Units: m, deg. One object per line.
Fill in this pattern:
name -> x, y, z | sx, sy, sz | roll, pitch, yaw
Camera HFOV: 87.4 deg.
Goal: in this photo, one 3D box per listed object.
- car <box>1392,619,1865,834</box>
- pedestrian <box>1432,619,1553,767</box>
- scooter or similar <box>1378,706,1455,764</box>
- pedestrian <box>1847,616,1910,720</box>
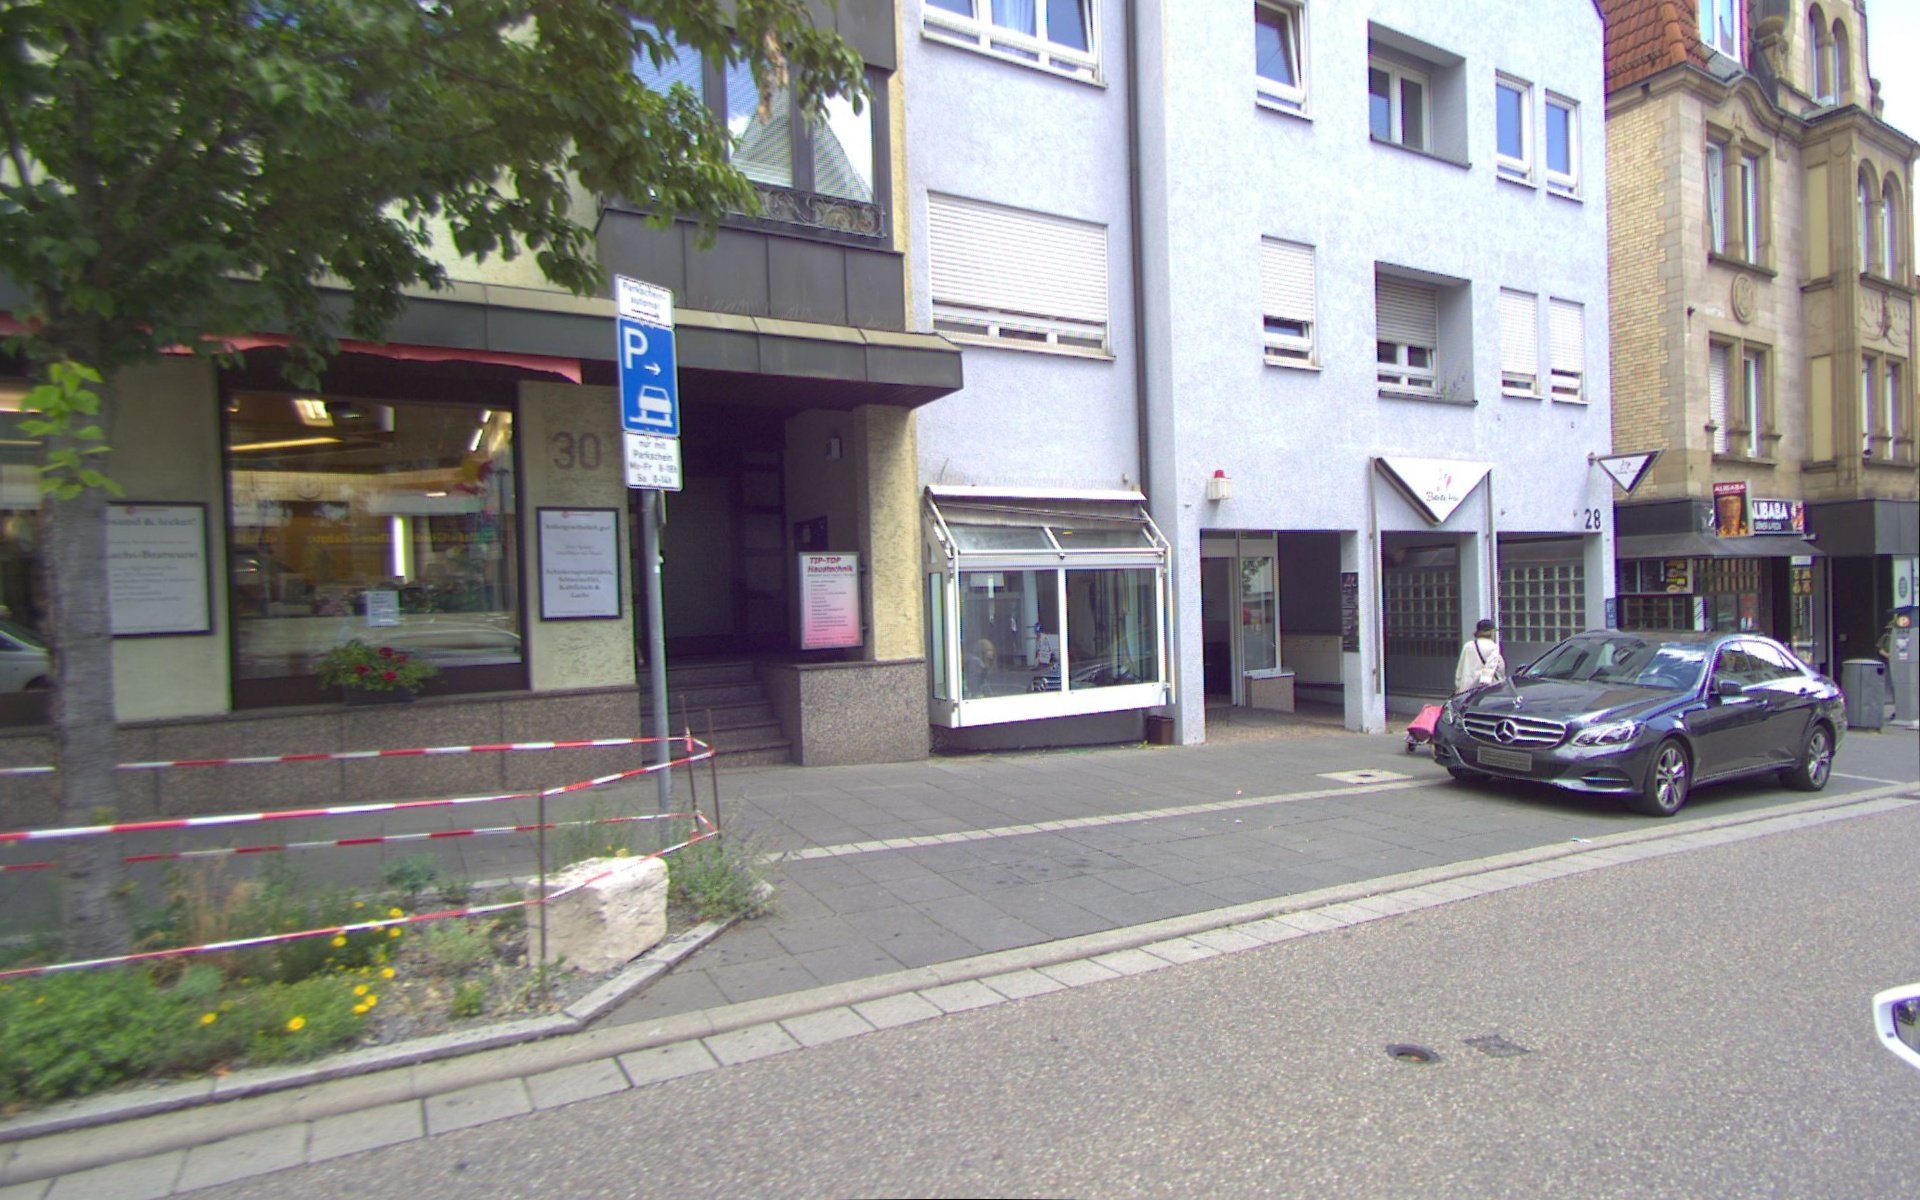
car -> 6.460, 1.007, 9.555 | 4.788, 1.512, 1.916 | 1, 1, -32
pedestrian -> 5.746, 0.975, 10.858 | 0.801, 1.483, 0.821 | 2, 1, -31
scooter or similar -> 4.929, 1.447, 10.853 | 0.566, 0.526, 0.522 | 2, 1, -31
pedestrian -> 15.999, 1.171, 17.504 | 0.702, 1.736, 0.584 | 2, 1, -31
